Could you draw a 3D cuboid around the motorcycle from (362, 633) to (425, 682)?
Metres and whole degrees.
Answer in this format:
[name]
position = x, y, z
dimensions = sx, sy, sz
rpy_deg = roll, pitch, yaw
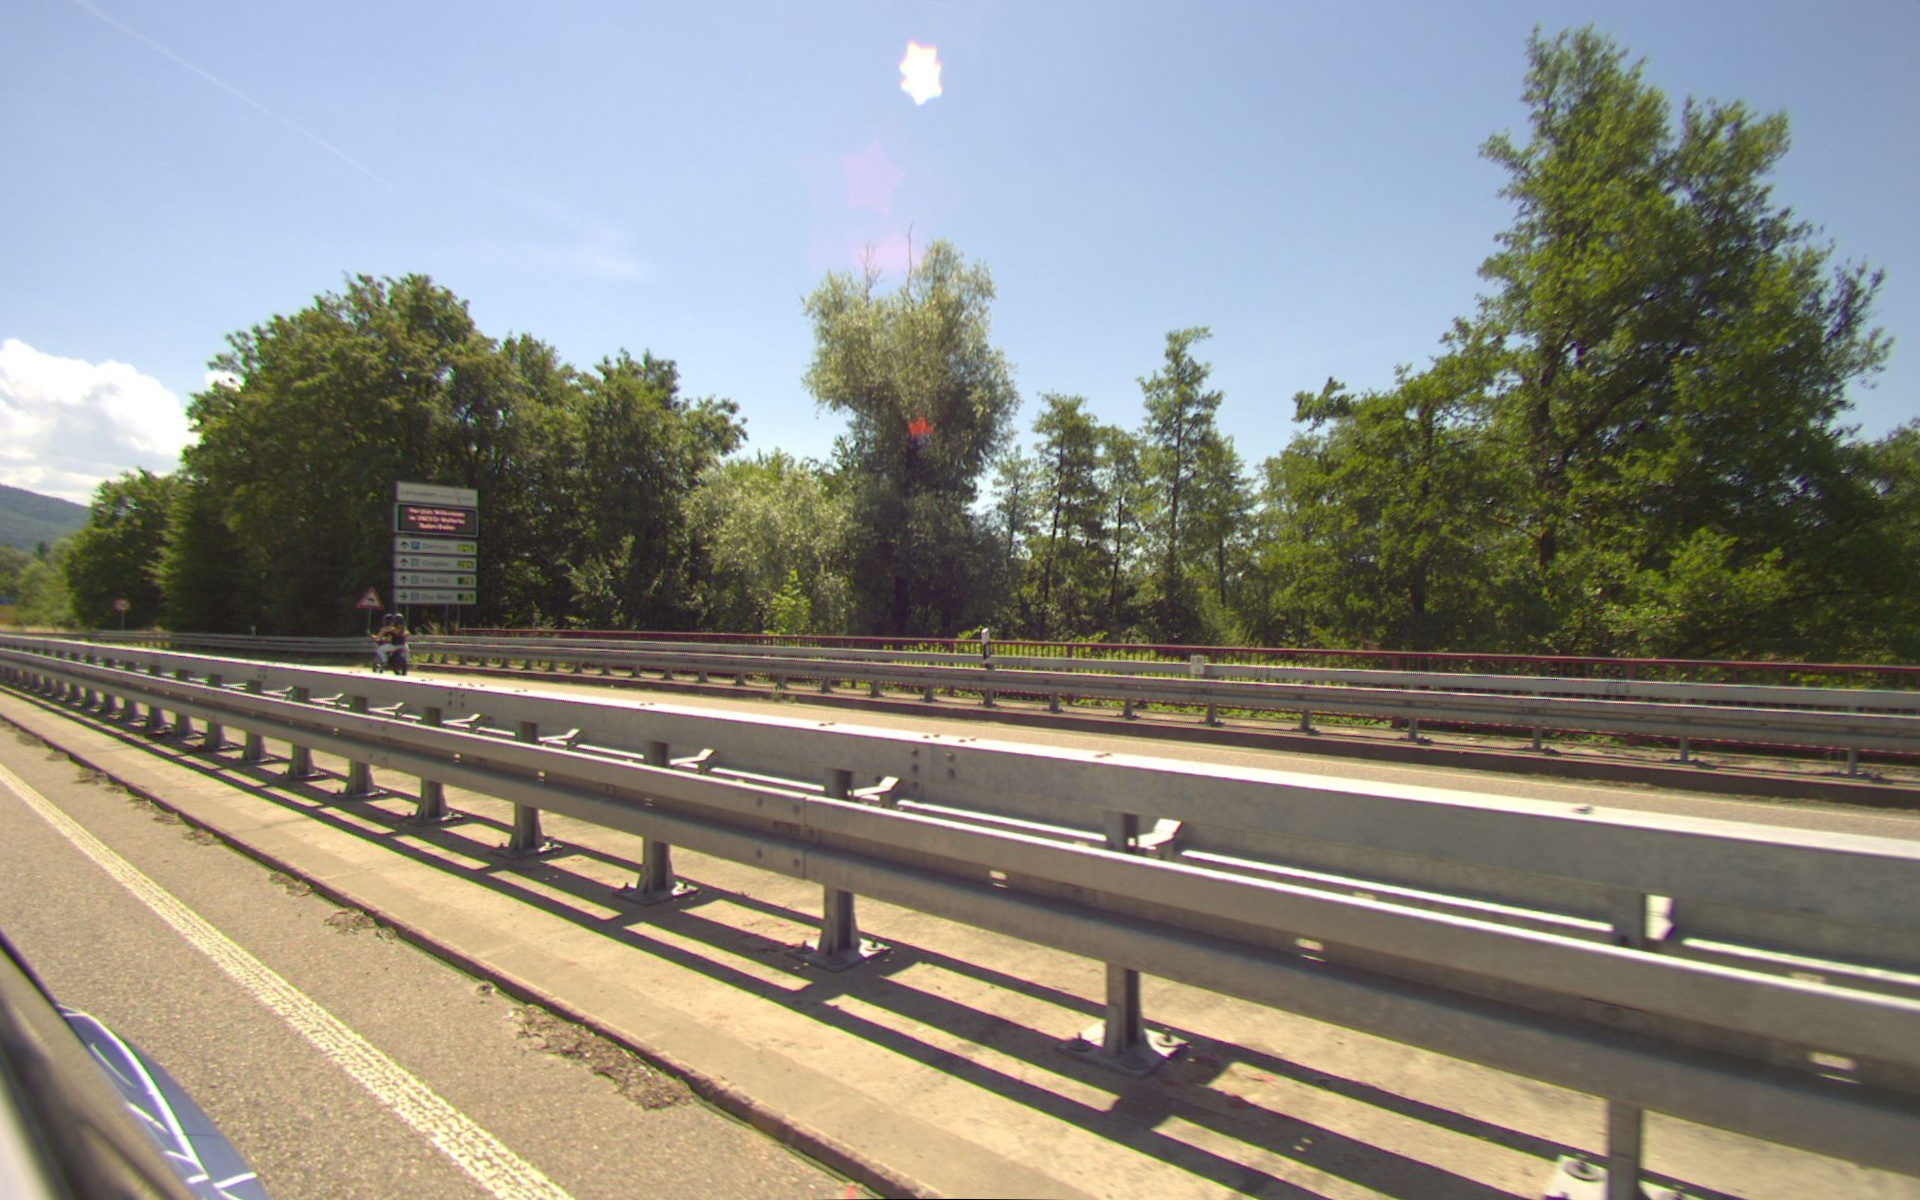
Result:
[motorcycle]
position = -13.987, 1.397, 24.965
dimensions = 2.312, 1.112, 0.608
rpy_deg = -1, -2, 41

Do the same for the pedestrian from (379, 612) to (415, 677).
[pedestrian]
position = -13.785, 1.083, 24.788
dimensions = 0.494, 1.552, 0.608
rpy_deg = -1, -2, 41

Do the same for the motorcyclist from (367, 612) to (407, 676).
[motorcyclist]
position = -14.283, 1.088, 25.226
dimensions = 0.776, 1.552, 0.608
rpy_deg = -1, -2, 41
